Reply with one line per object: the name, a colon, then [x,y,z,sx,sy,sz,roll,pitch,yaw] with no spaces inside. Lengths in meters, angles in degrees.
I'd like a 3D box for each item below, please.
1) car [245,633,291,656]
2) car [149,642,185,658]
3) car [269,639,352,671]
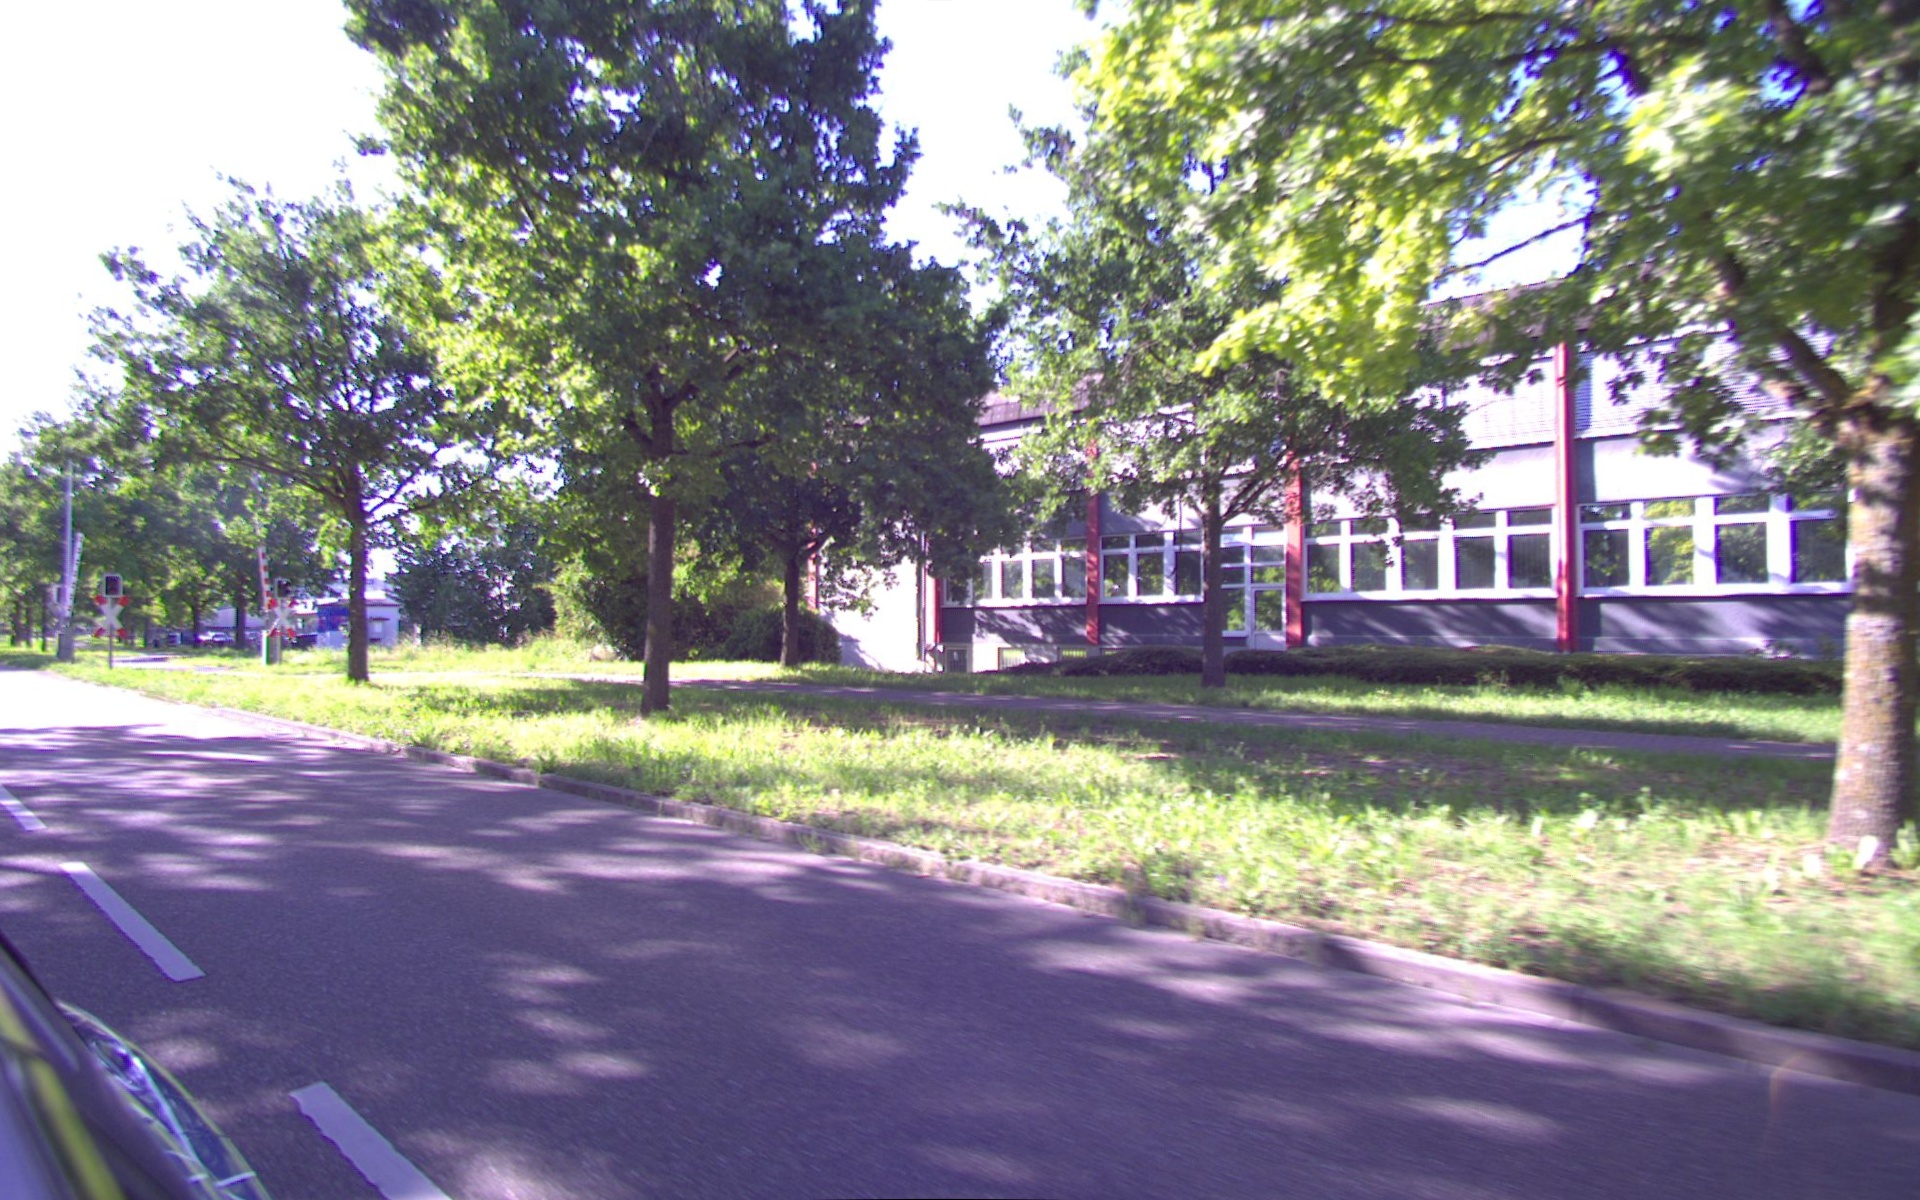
car: [-53.413,3.404,78.095,5.017,1.610,1.971,-2,-1,45]
car: [-76.500,4.848,97.640,2.531,1.481,1.430,1,-3,-27]
car: [-40.988,3.452,63.912,1.997,1.815,3.949,-2,-1,38]
